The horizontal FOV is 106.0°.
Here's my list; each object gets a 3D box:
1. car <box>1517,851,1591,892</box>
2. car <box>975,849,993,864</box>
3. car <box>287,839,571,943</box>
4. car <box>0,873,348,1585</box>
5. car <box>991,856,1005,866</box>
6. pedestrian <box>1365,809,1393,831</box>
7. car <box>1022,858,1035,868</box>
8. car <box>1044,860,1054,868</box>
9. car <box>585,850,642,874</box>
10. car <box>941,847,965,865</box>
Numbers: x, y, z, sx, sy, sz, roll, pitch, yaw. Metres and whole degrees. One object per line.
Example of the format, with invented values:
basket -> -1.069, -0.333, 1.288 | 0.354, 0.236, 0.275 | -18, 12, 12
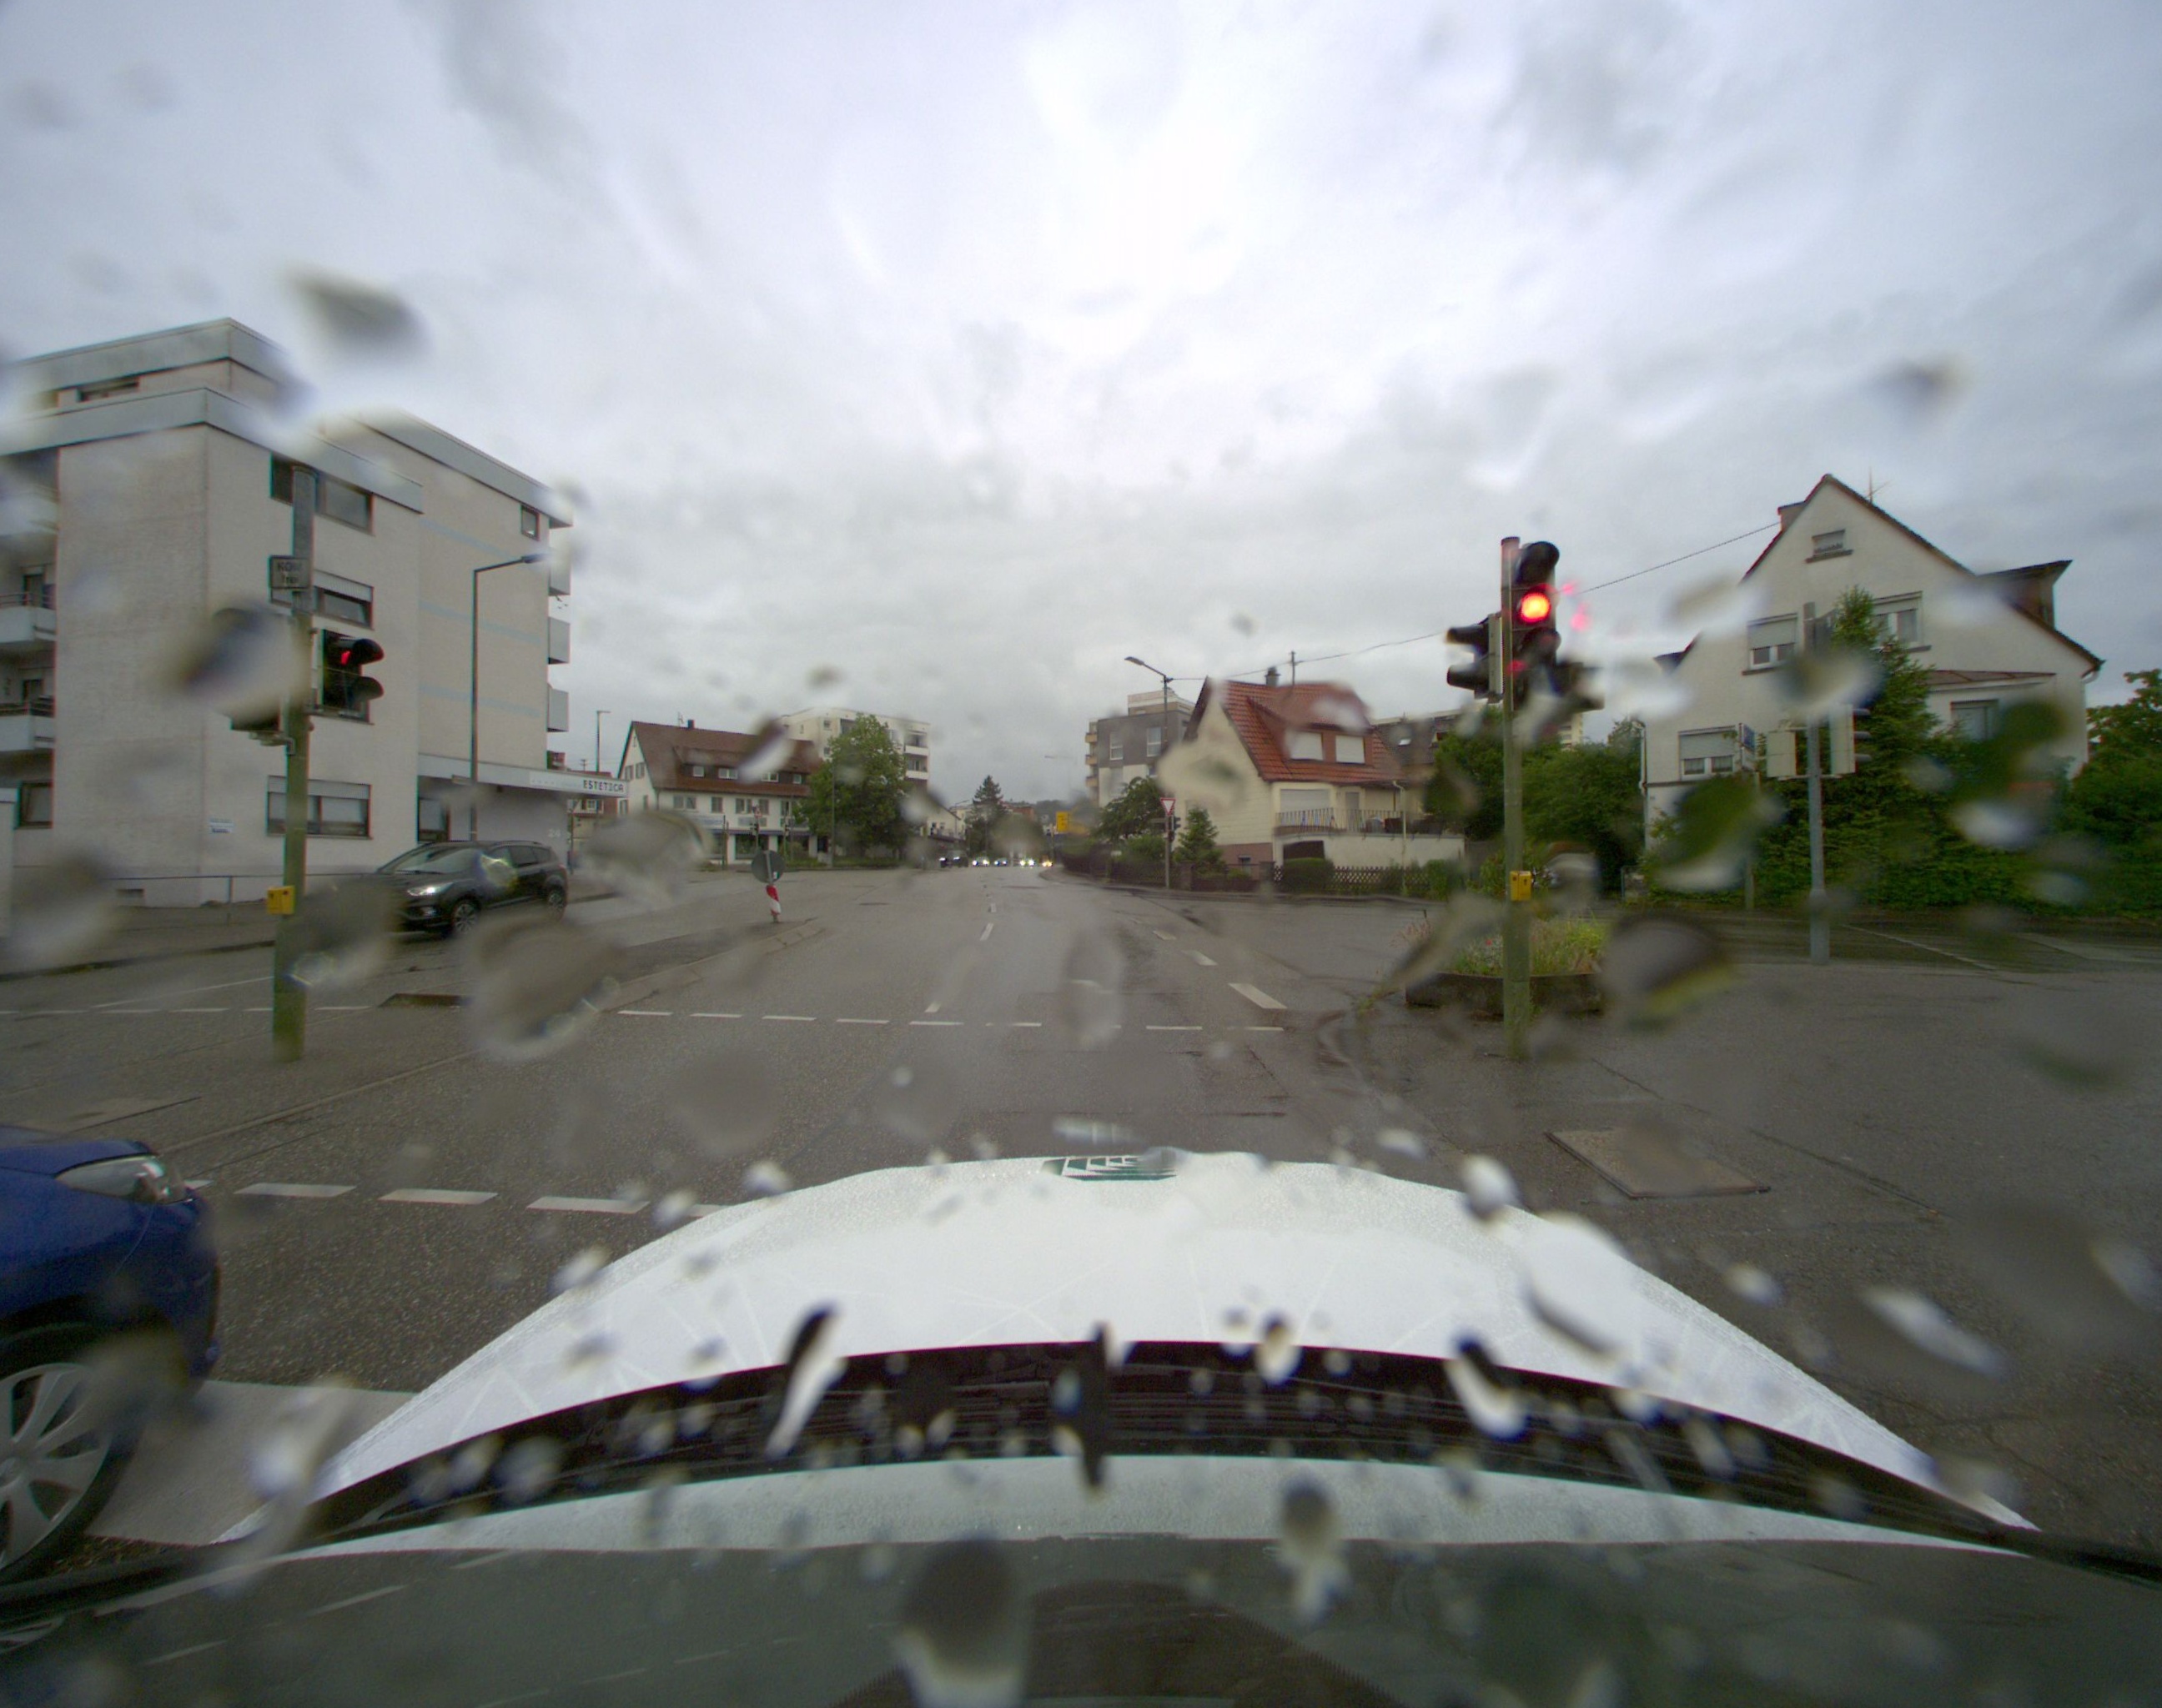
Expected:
car -> 17.104, 0.588, 29.367 | 1.794, 1.362, 4.025 | -1, -1, 37
car -> -12.621, 0.279, 105.789 | 1.989, 1.904, 3.996 | 0, -1, -3
car -> -11.417, 0.569, 14.725 | 1.874, 1.597, 4.181 | 0, 0, -2
car -> -2.960, 0.775, 0.722 | 1.499, 1.413, 3.365 | 0, 0, 2
car -> -12.928, 1.088, 127.344 | 1.989, 1.463, 3.996 | 0, 0, -3
pedestrian -> 12.763, -1.443, 34.852 | 0.918, 0.883, 0.632 | 0, -3, -18
car -> -8.741, 1.445, 135.715 | 1.989, 1.679, 3.996 | 0, -1, -3
car -> -6.934, 2.143, 175.800 | 1.989, 1.812, 3.996 | 0, -1, -3
car -> -38.448, 0.632, 66.976 | 3.706, 1.920, 1.864 | 0, -1, -44
car -> -13.036, 0.191, 83.340 | 1.990, 1.737, 5.173 | 0, 0, -4
